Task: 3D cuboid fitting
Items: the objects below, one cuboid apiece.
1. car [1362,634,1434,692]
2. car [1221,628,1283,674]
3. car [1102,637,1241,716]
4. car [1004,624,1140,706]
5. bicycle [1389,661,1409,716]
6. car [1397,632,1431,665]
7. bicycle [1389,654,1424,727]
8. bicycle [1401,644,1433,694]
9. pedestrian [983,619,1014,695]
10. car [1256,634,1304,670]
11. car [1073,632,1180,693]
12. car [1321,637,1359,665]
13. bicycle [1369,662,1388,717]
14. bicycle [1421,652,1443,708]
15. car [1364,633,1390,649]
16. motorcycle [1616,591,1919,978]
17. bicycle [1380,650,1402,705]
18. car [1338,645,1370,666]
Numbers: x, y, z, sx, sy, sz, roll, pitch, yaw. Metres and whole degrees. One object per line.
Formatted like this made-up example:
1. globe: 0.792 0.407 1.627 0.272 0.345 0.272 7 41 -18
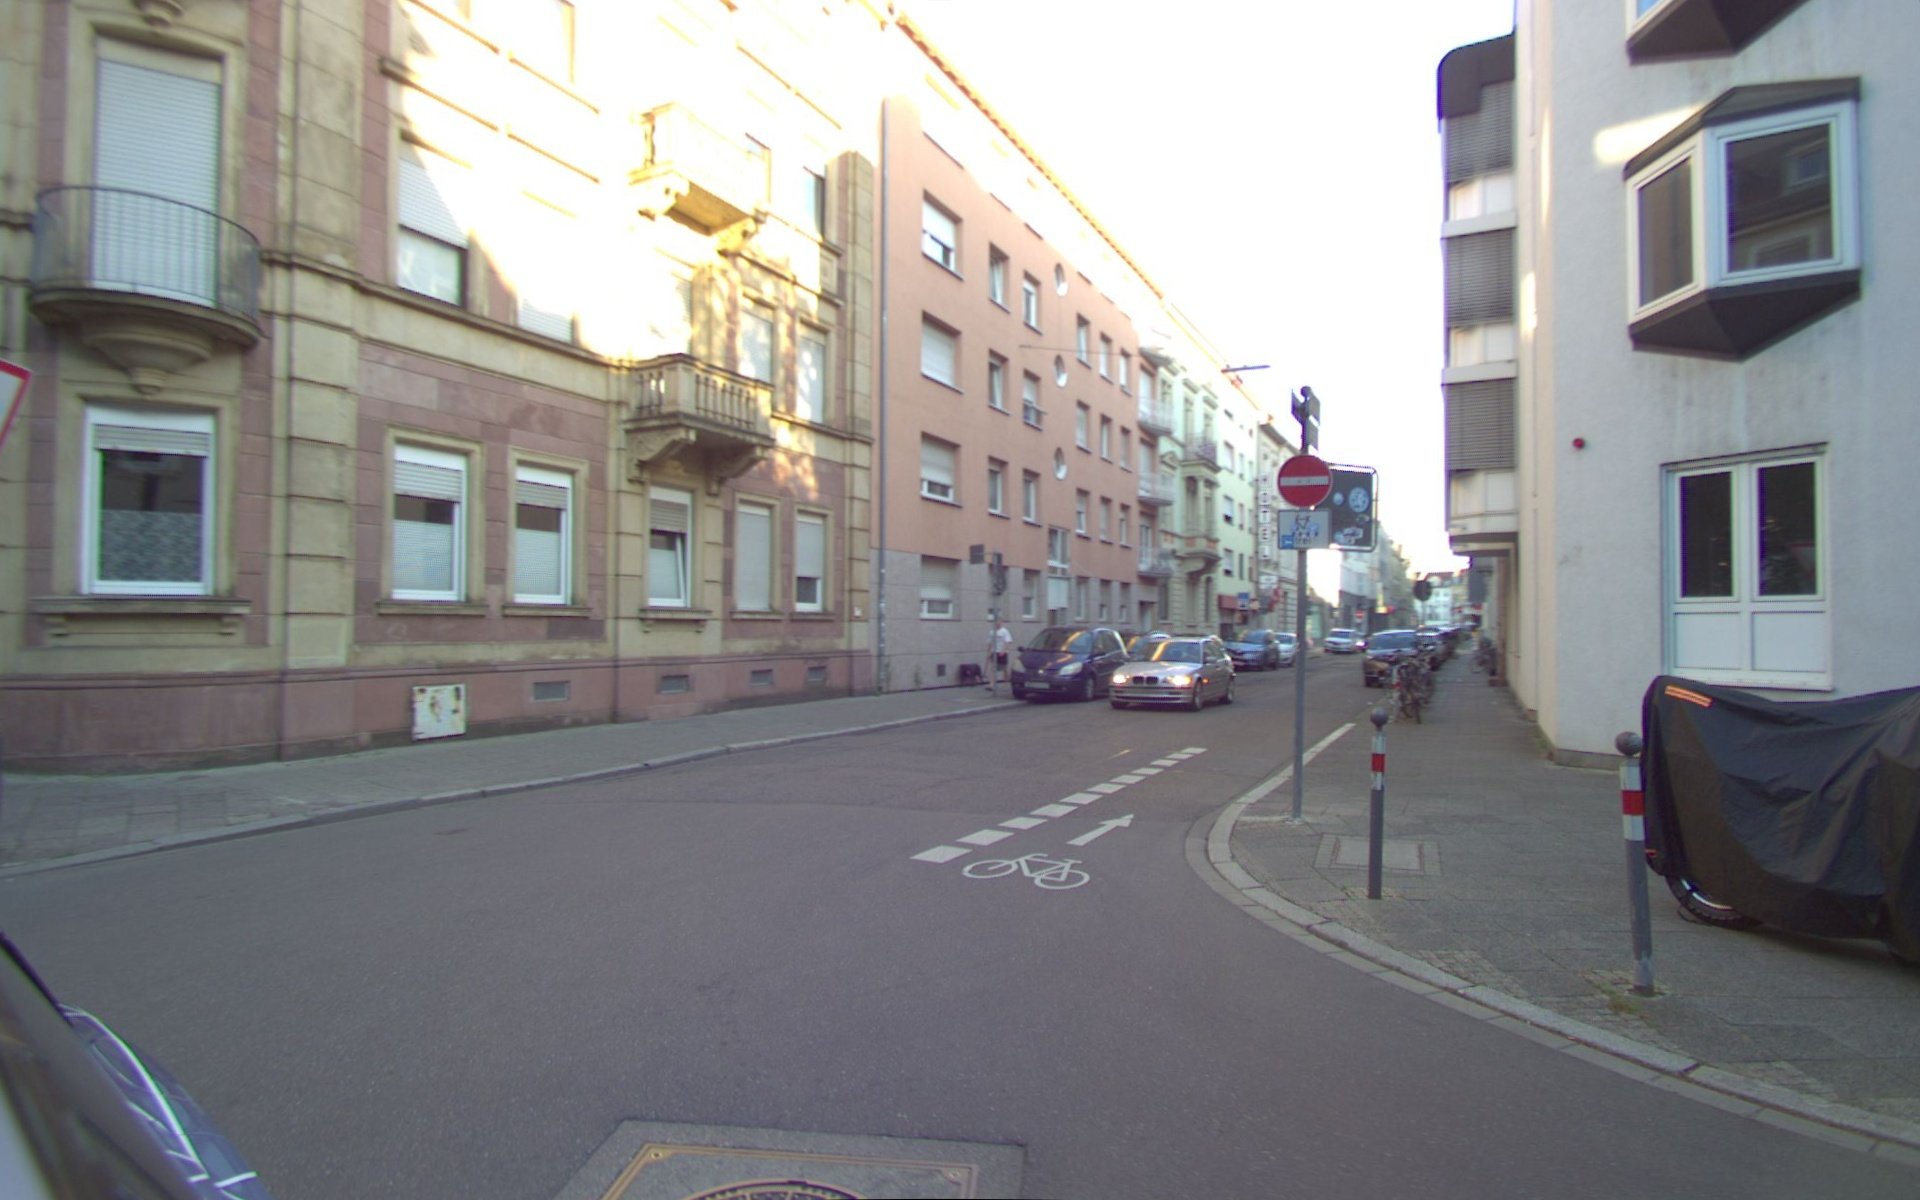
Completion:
1. car: 13.013 1.810 29.987 1.786 1.588 4.036 -1 -2 25
2. car: 11.795 2.032 40.711 1.686 1.754 4.072 -1 -2 26
3. car: 4.410 1.478 20.587 1.674 1.414 4.430 -3 -3 27
4. car: 2.597 1.391 22.601 1.687 1.637 4.016 -1 -3 28
5. bicycle: 8.200 1.627 18.908 0.306 0.939 1.798 -1 -3 23
6. car: 25.238 2.672 56.302 1.634 1.724 3.751 -1 -2 24
7. bicycle: 7.373 1.471 16.754 0.398 1.111 1.800 -1 -3 20
8. bicycle: 11.573 1.717 25.610 0.594 1.196 2.244 -2 -3 27
9. pedestrian: 0.900 1.316 23.536 0.548 1.757 0.563 -1 -3 26
10. car: 14.679 2.350 46.374 1.567 1.591 3.557 -1 -2 26
11. car: 4.587 1.636 27.455 1.686 1.525 4.244 -1 -2 26
12. car: 25.959 3.455 69.004 1.835 1.708 4.317 4 0 28
13. bicycle: 7.892 1.658 19.095 0.306 0.939 1.799 -2 -2 22
14. bicycle: 9.655 1.610 20.667 0.306 1.050 1.796 -2 -3 27
15. car: 36.286 3.571 88.059 1.722 1.409 3.855 -1 -3 28
16. motorcycle: 4.134 0.758 4.457 0.658 1.567 2.168 1 -2 -16
17. bicycle: 10.085 1.789 23.673 0.306 1.232 1.796 -2 -3 27
18. car: 28.659 4.019 73.560 1.722 1.489 3.938 -2 -3 28
